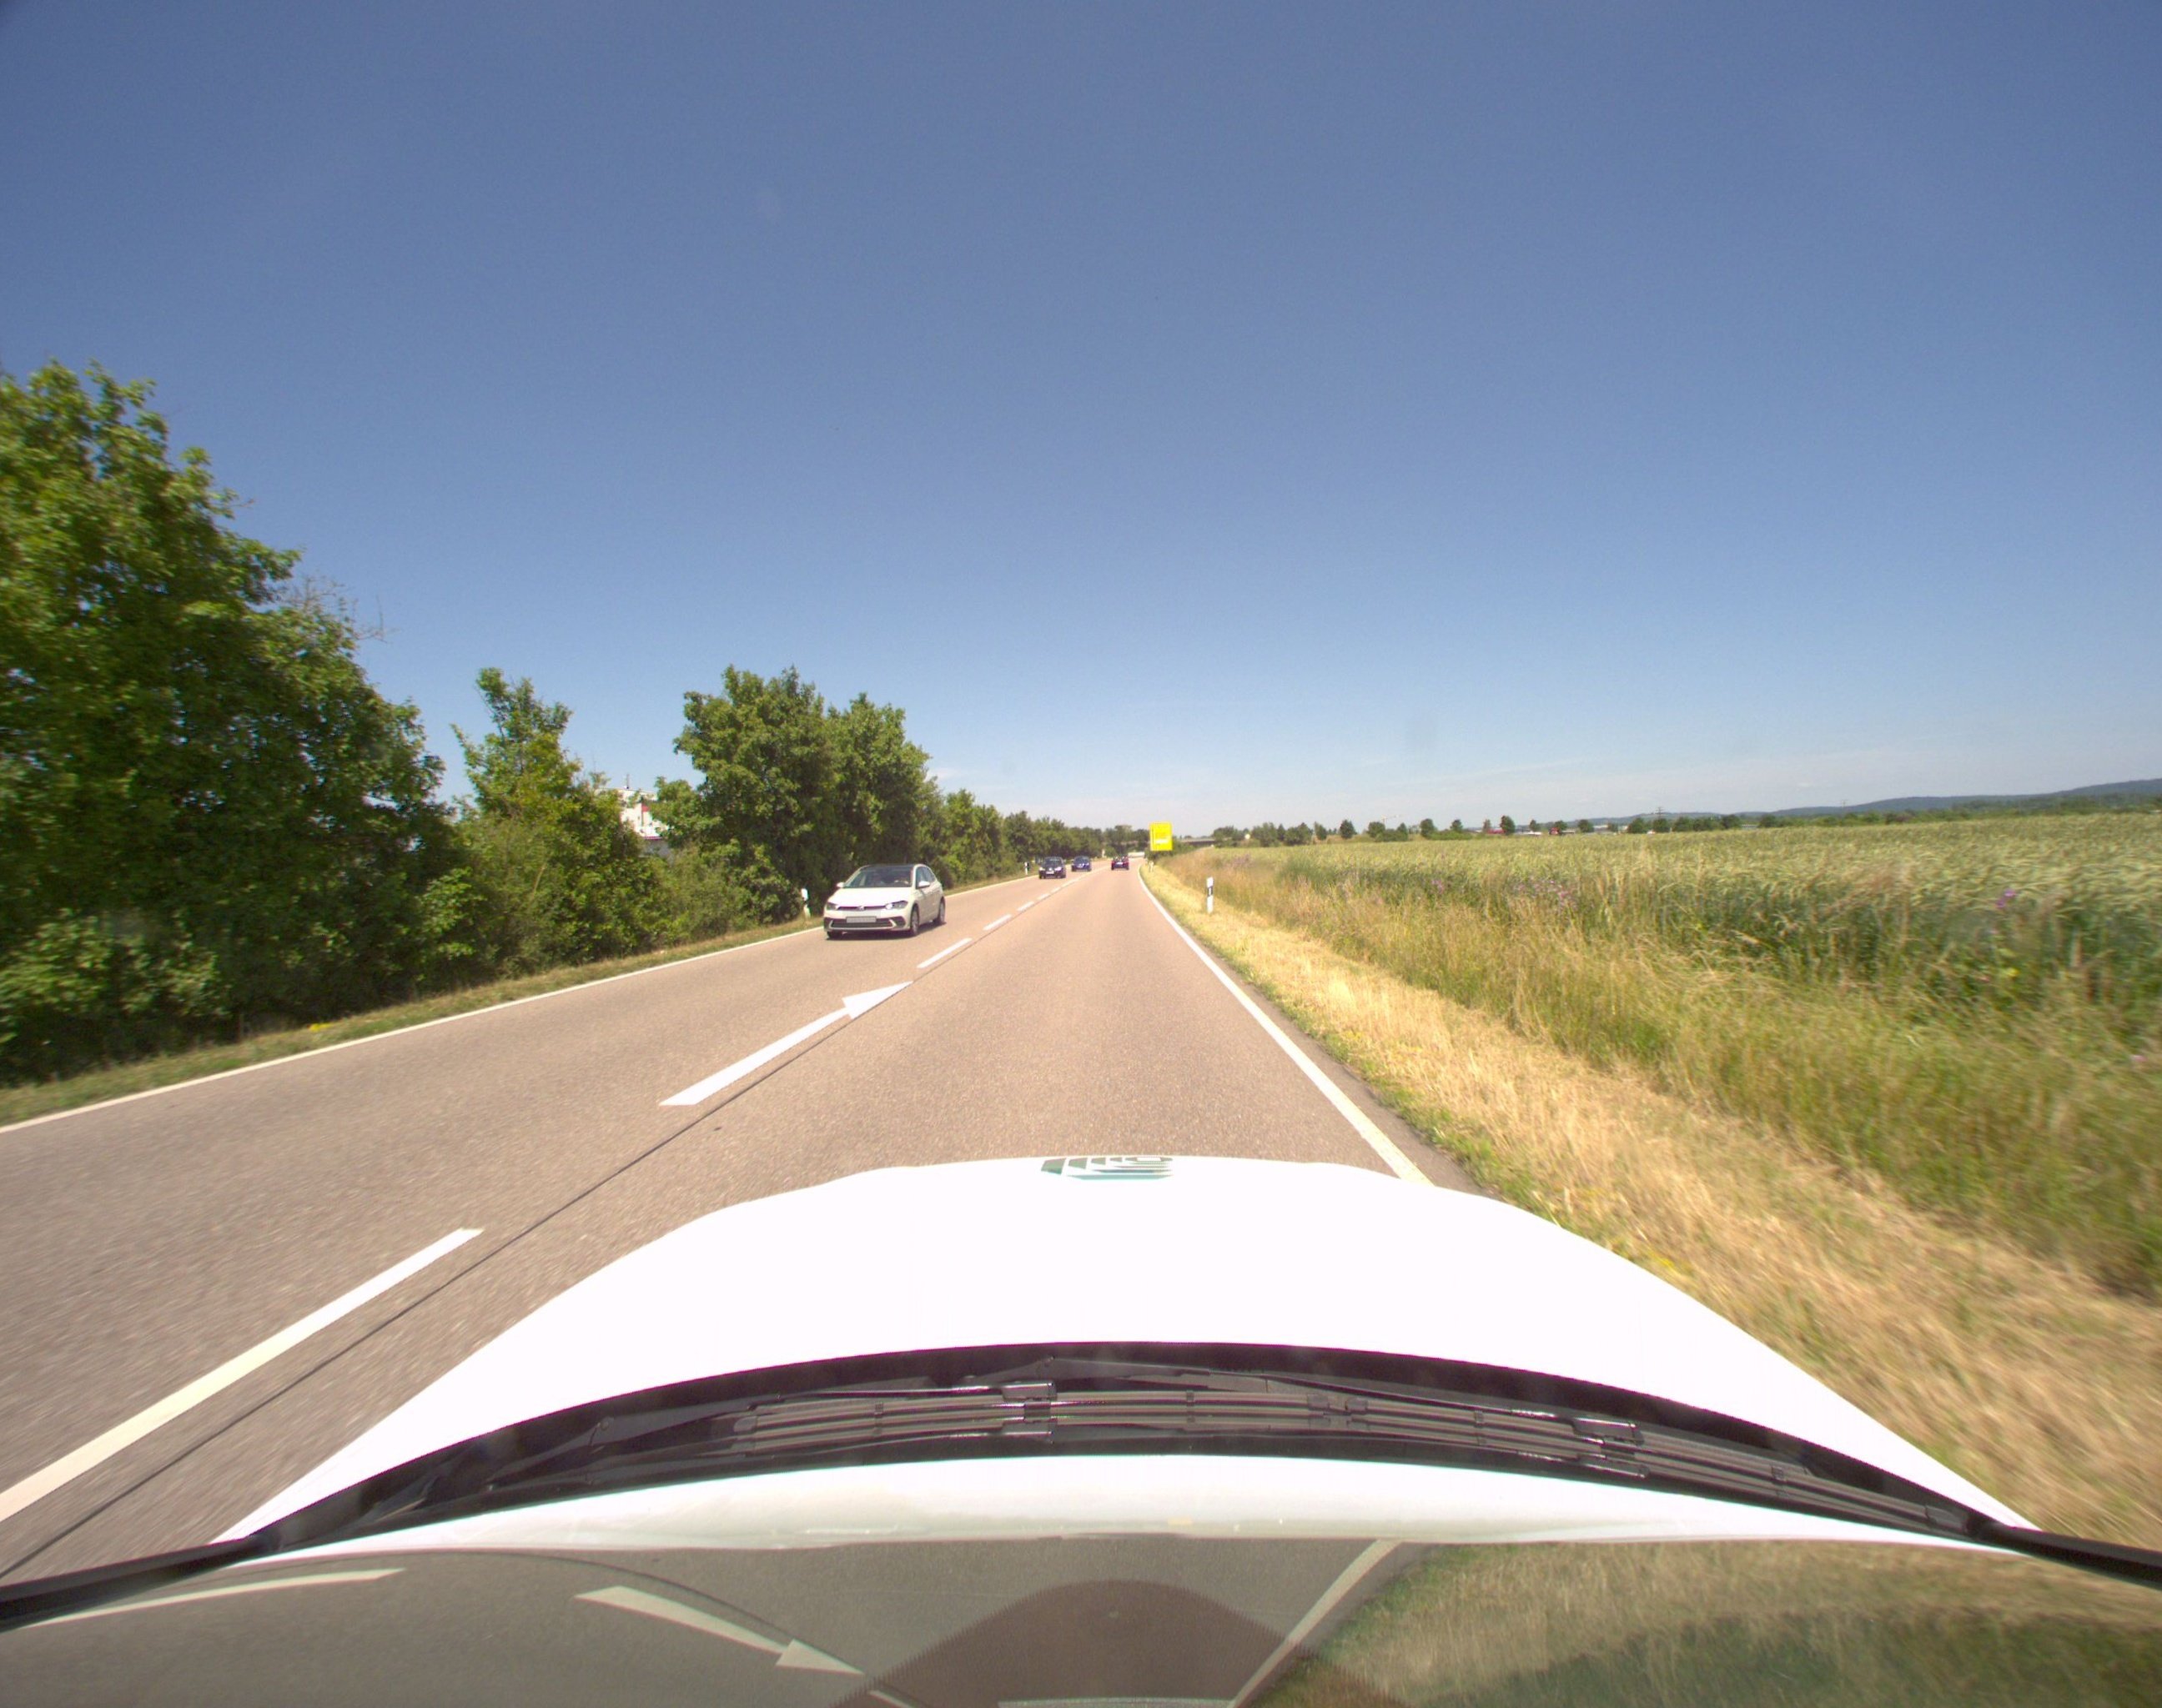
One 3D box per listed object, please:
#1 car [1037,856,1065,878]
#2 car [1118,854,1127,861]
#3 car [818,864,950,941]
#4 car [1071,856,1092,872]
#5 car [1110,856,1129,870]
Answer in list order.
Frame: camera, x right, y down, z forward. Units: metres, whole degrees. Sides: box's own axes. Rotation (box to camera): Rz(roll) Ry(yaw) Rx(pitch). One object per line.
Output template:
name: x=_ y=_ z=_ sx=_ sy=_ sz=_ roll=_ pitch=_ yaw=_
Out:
car: x=-2.030 y=0.879 z=55.934 sx=1.591 sy=1.442 sz=4.002 roll=-1 pitch=0 yaw=2
car: x=9.092 y=0.783 z=176.616 sx=1.773 sy=1.420 sz=4.539 roll=-1 pitch=0 yaw=4
car: x=-3.991 y=0.922 z=17.131 sx=1.701 sy=1.381 sz=3.821 roll=-1 pitch=0 yaw=2
car: x=0.101 y=0.929 z=78.150 sx=1.645 sy=1.407 sz=4.005 roll=-1 pitch=0 yaw=5
car: x=3.895 y=0.896 z=81.877 sx=1.806 sy=1.441 sz=4.003 roll=-1 pitch=0 yaw=3
